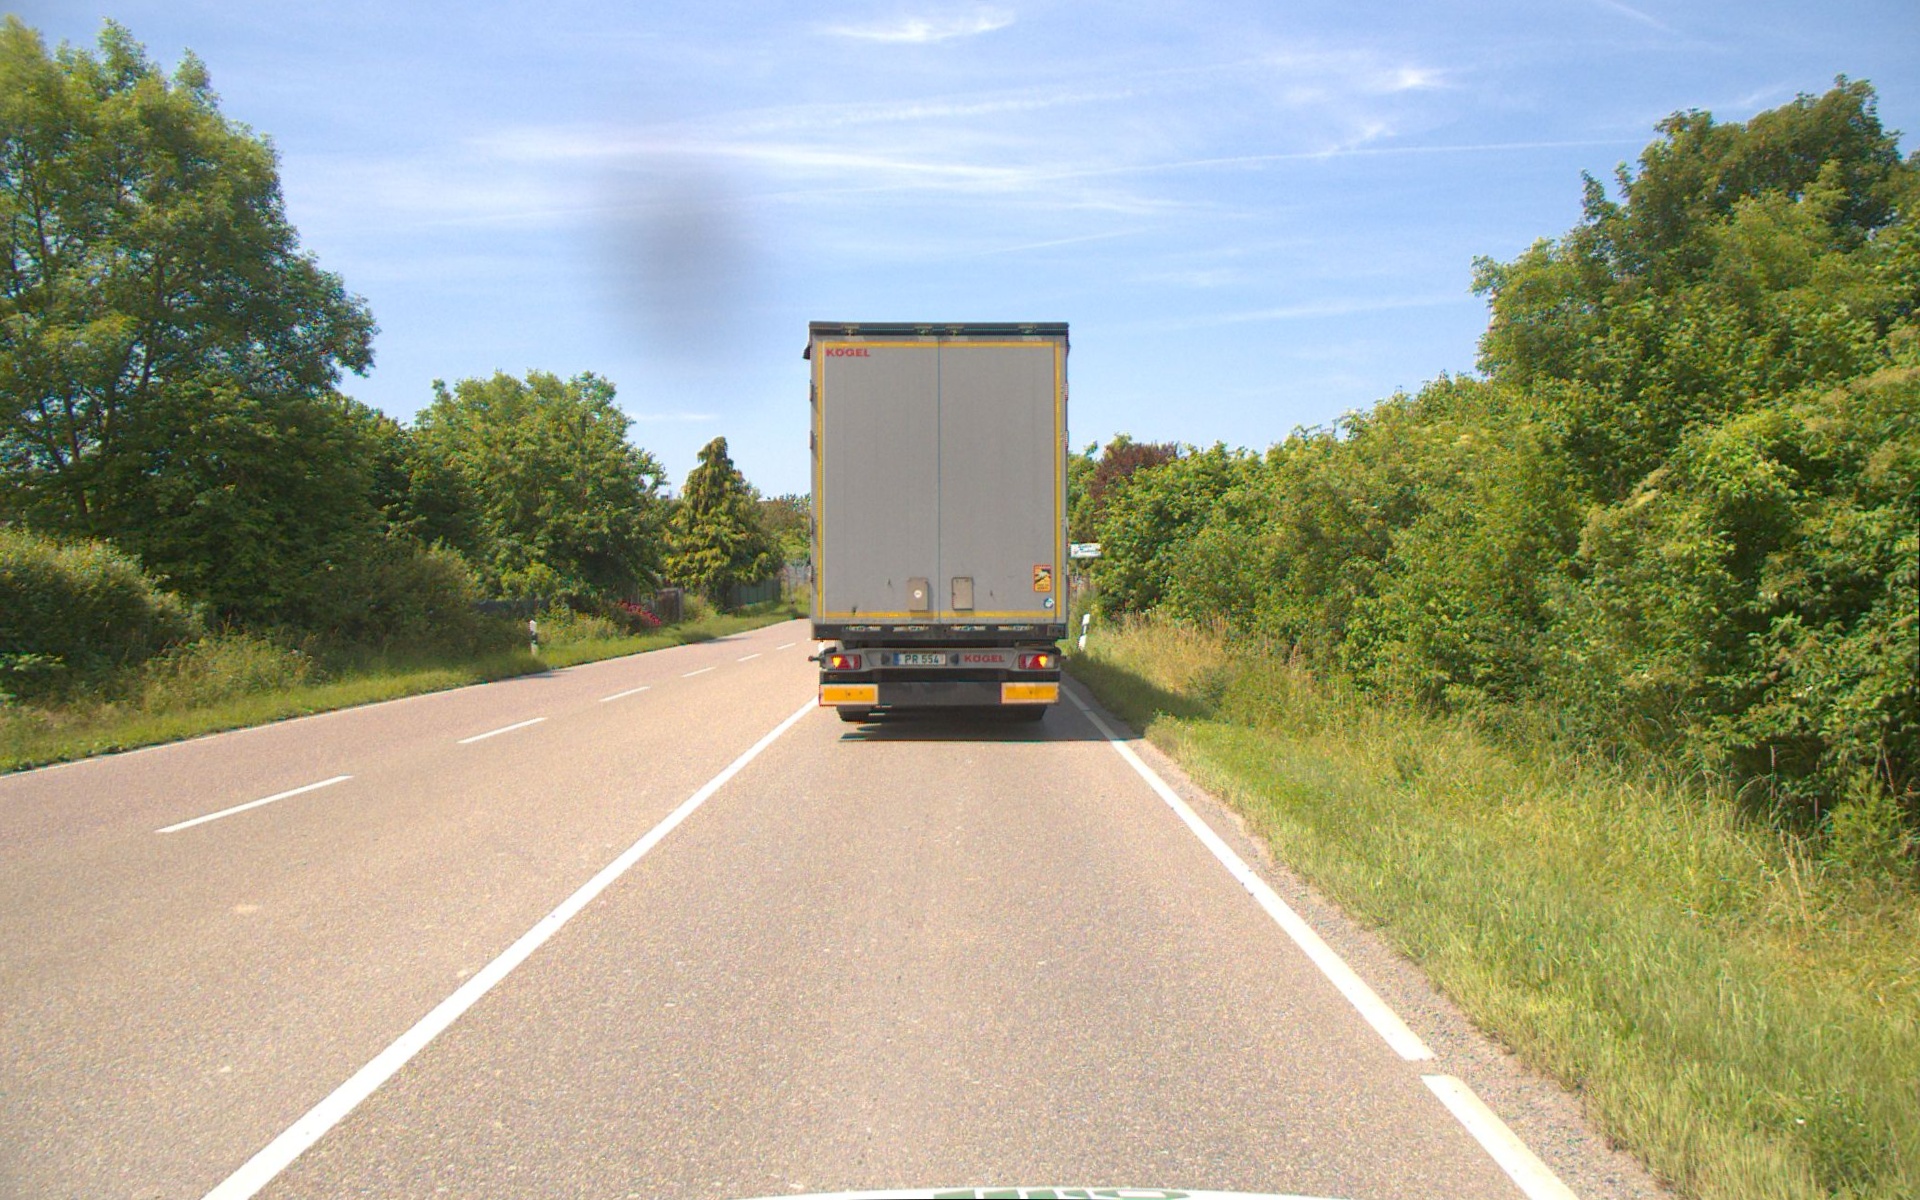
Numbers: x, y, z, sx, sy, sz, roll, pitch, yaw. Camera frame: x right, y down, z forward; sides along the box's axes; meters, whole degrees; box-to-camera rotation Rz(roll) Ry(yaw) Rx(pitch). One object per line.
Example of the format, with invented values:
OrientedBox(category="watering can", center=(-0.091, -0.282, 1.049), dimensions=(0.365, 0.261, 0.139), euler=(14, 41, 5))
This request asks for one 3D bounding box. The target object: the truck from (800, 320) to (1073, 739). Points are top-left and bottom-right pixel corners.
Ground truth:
OrientedBox(category="truck", center=(-0.310, -0.694, 20.203), dimensions=(2.594, 3.985, 8.823), euler=(0, 0, -1))
